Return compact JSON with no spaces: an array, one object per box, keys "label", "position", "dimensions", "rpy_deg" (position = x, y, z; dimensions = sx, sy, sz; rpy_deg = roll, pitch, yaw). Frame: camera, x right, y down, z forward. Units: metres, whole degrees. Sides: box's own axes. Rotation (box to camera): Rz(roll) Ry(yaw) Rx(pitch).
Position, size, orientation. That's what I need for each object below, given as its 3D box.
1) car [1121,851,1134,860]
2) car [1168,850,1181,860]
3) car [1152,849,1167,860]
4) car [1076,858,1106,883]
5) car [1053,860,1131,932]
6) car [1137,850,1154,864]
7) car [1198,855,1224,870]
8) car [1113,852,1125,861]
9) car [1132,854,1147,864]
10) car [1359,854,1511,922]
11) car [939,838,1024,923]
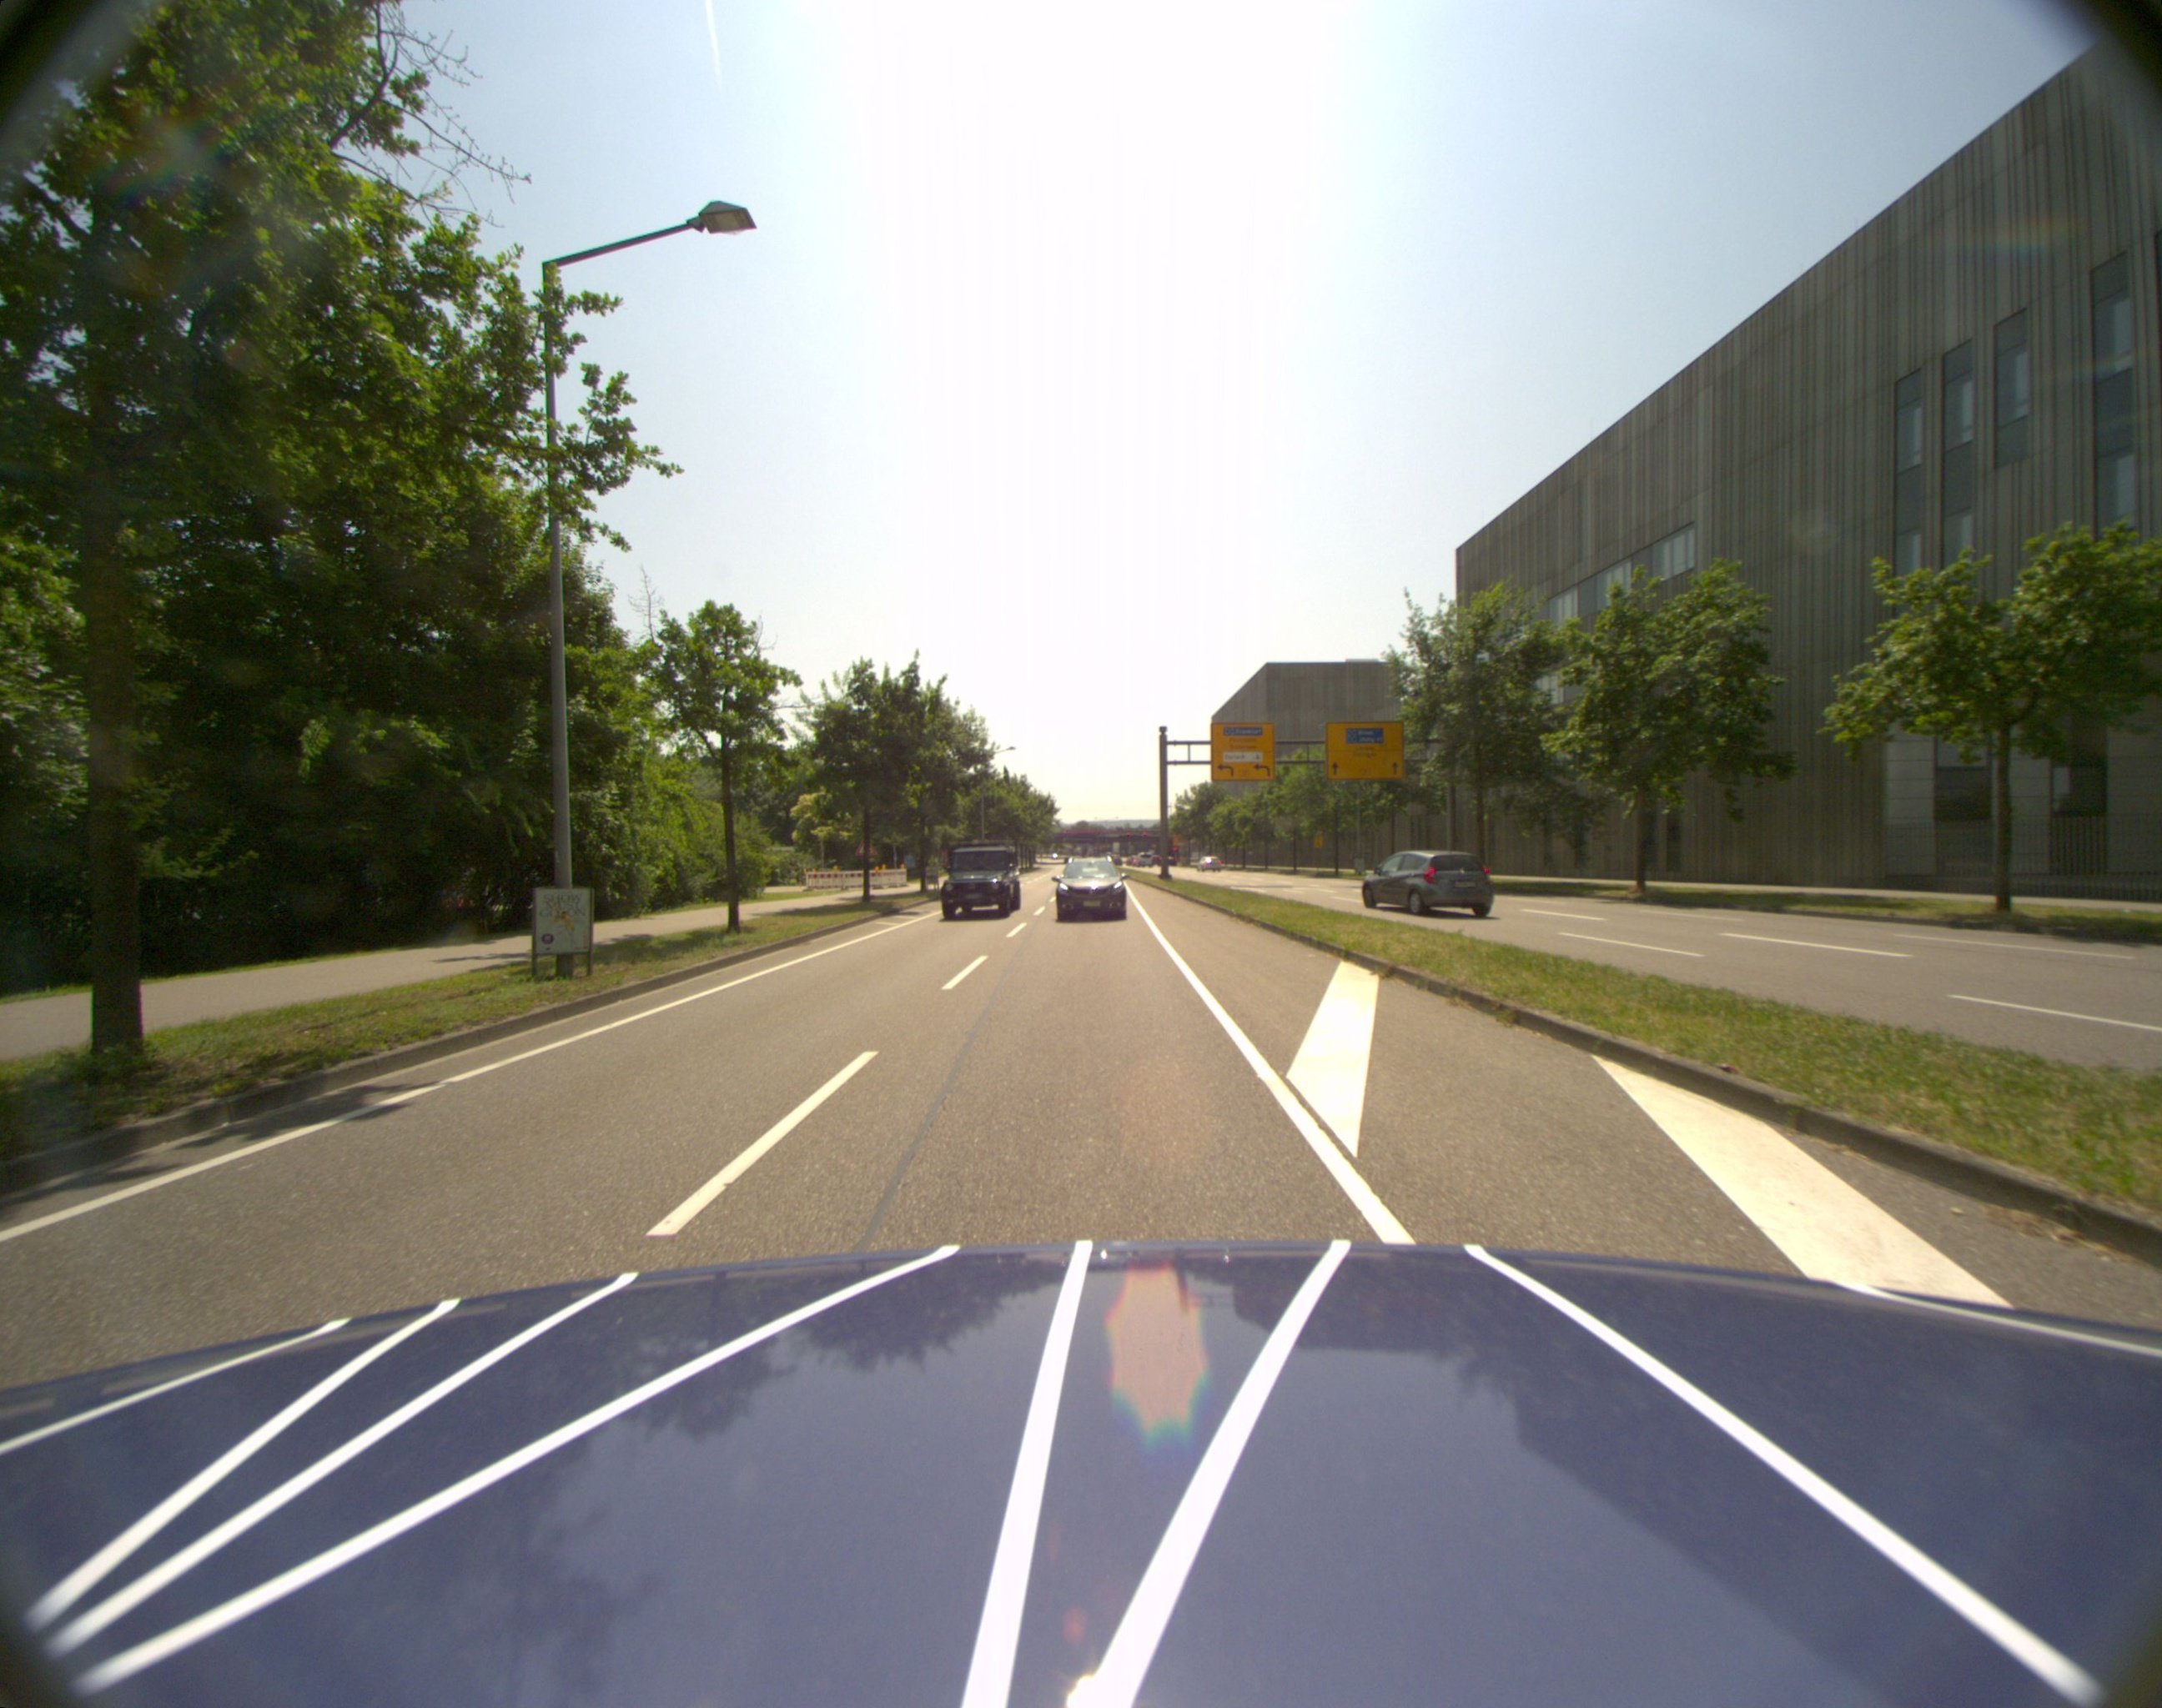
[{"label":"car","position":[8.029,0.263,130.210],"dimensions":[1.815,1.437,4.249],"rpy_deg":[0,0,-2]},{"label":"car","position":[15.330,0.165,124.781],"dimensions":[1.625,1.447,4.017],"rpy_deg":[-1,0,0]},{"label":"car","position":[12.677,0.085,123.401],"dimensions":[1.815,1.736,4.645],"rpy_deg":[-1,0,-2]},{"label":"car","position":[0.585,1.017,47.646],"dimensions":[1.817,1.456,4.000],"rpy_deg":[-1,0,0]},{"label":"car","position":[0.324,0.928,18.743],"dimensions":[1.619,1.502,4.459],"rpy_deg":[-3,0,2]},{"label":"car","position":[9.052,0.406,107.141],"dimensions":[1.914,1.981,4.897],"rpy_deg":[0,0,-1]},{"label":"car","position":[12.557,0.771,73.528],"dimensions":[1.815,1.419,4.358],"rpy_deg":[0,0,0]},{"label":"car","position":[6.203,0.349,123.968],"dimensions":[1.815,1.458,4.057],"rpy_deg":[-1,0,0]},{"label":"car","position":[8.782,0.687,114.111],"dimensions":[1.770,1.452,4.144],"rpy_deg":[0,0,-1]},{"label":"car","position":[8.356,0.727,18.350],"dimensions":[1.712,1.463,3.940],"rpy_deg":[0,0,-2]},{"label":"car","position":[-2.705,0.661,21.714],"dimensions":[1.841,2.141,4.557],"rpy_deg":[-1,0,-1]}]
